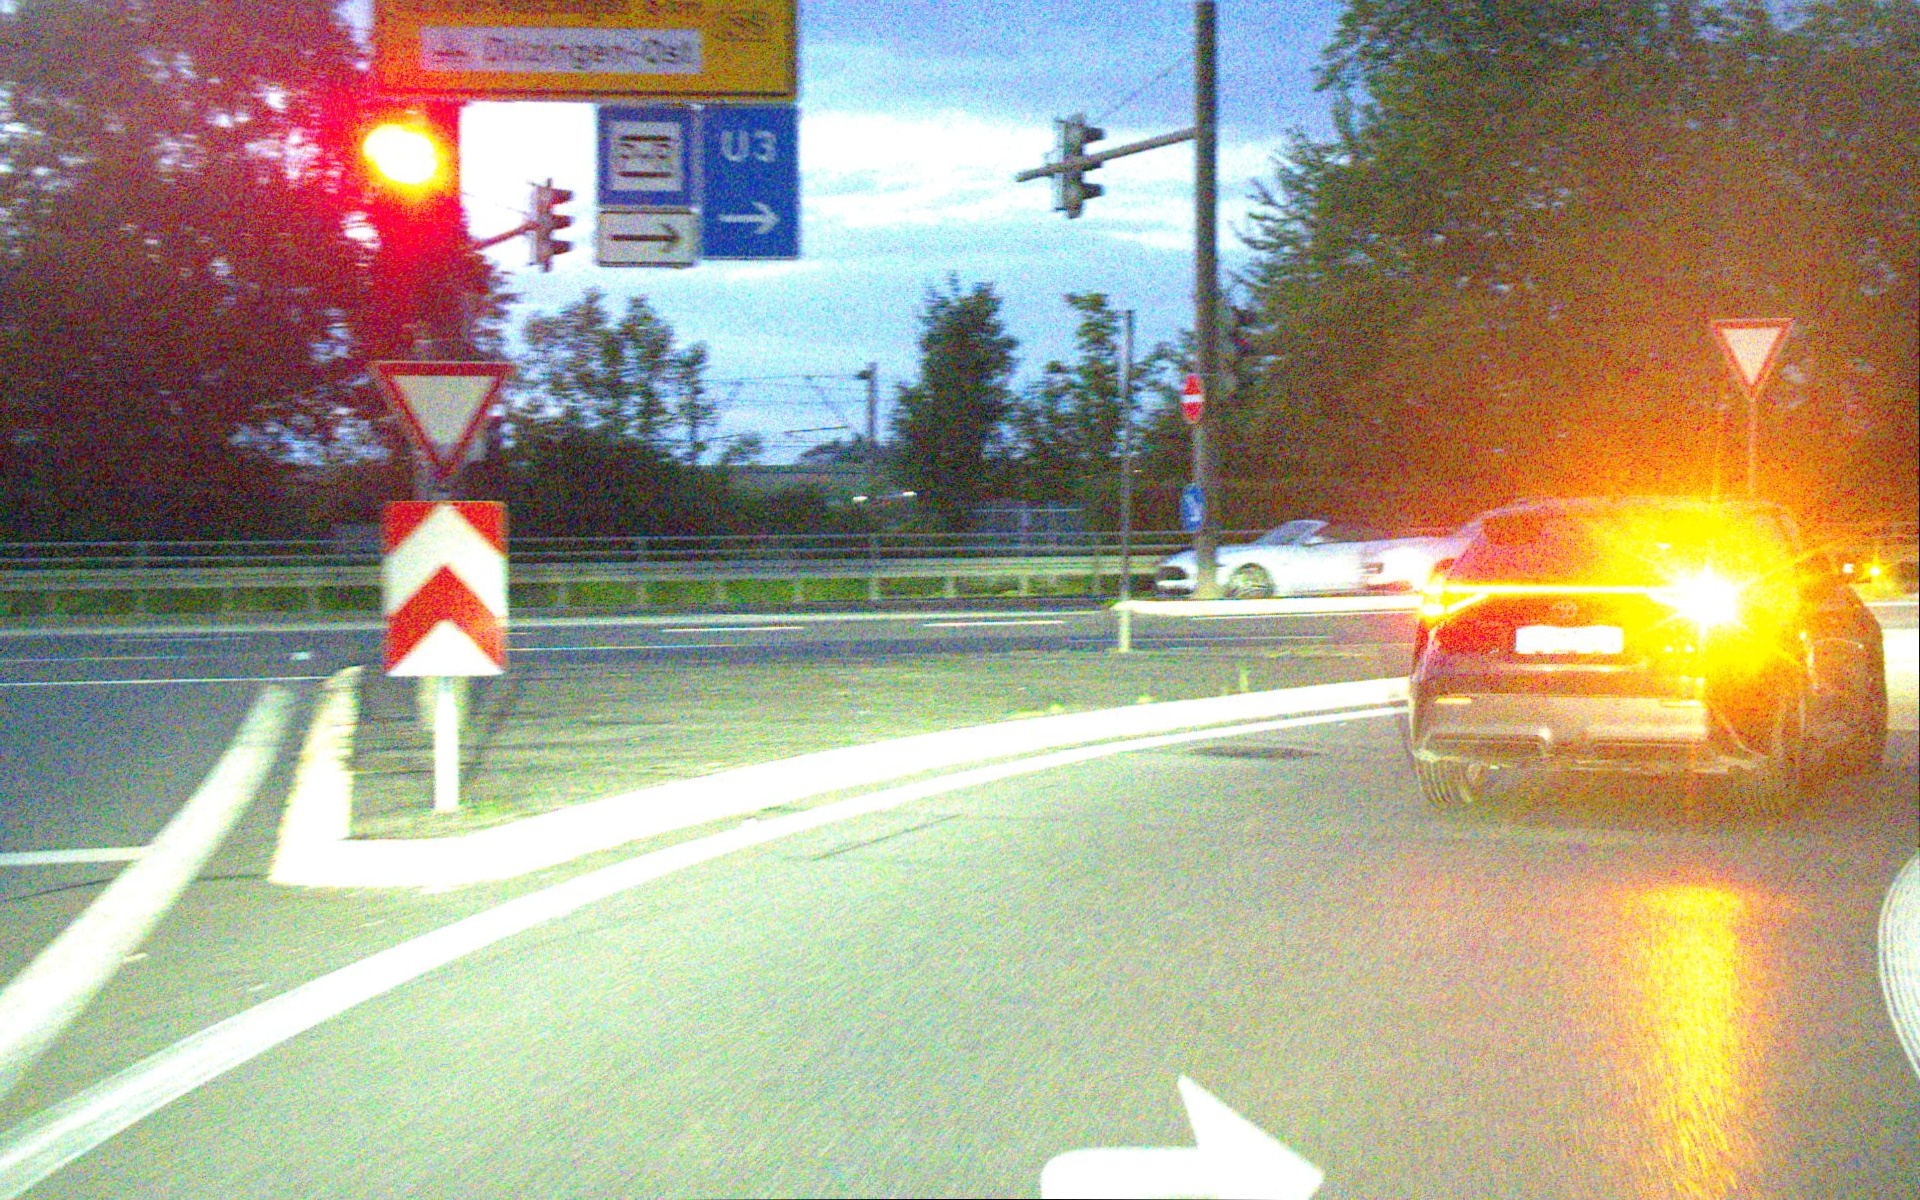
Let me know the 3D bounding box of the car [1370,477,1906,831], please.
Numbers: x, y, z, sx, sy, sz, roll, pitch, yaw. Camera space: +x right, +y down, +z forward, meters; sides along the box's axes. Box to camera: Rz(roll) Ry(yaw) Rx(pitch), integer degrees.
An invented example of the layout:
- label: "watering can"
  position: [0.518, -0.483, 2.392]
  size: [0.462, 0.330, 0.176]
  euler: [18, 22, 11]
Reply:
- label: "car"
  position: [3.772, 0.190, 18.458]
  size: [1.903, 1.614, 4.551]
  euler: [2, 2, 23]

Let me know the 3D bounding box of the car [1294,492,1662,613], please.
- label: "car"
  position: [7.433, -0.672, 49.342]
  size: [4.856, 1.676, 2.001]
  euler: [0, 1, -21]

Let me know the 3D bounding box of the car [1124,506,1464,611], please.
- label: "car"
  position: [5.080, -0.648, 52.364]
  size: [4.717, 1.448, 2.001]
  euler: [-2, 1, -20]
